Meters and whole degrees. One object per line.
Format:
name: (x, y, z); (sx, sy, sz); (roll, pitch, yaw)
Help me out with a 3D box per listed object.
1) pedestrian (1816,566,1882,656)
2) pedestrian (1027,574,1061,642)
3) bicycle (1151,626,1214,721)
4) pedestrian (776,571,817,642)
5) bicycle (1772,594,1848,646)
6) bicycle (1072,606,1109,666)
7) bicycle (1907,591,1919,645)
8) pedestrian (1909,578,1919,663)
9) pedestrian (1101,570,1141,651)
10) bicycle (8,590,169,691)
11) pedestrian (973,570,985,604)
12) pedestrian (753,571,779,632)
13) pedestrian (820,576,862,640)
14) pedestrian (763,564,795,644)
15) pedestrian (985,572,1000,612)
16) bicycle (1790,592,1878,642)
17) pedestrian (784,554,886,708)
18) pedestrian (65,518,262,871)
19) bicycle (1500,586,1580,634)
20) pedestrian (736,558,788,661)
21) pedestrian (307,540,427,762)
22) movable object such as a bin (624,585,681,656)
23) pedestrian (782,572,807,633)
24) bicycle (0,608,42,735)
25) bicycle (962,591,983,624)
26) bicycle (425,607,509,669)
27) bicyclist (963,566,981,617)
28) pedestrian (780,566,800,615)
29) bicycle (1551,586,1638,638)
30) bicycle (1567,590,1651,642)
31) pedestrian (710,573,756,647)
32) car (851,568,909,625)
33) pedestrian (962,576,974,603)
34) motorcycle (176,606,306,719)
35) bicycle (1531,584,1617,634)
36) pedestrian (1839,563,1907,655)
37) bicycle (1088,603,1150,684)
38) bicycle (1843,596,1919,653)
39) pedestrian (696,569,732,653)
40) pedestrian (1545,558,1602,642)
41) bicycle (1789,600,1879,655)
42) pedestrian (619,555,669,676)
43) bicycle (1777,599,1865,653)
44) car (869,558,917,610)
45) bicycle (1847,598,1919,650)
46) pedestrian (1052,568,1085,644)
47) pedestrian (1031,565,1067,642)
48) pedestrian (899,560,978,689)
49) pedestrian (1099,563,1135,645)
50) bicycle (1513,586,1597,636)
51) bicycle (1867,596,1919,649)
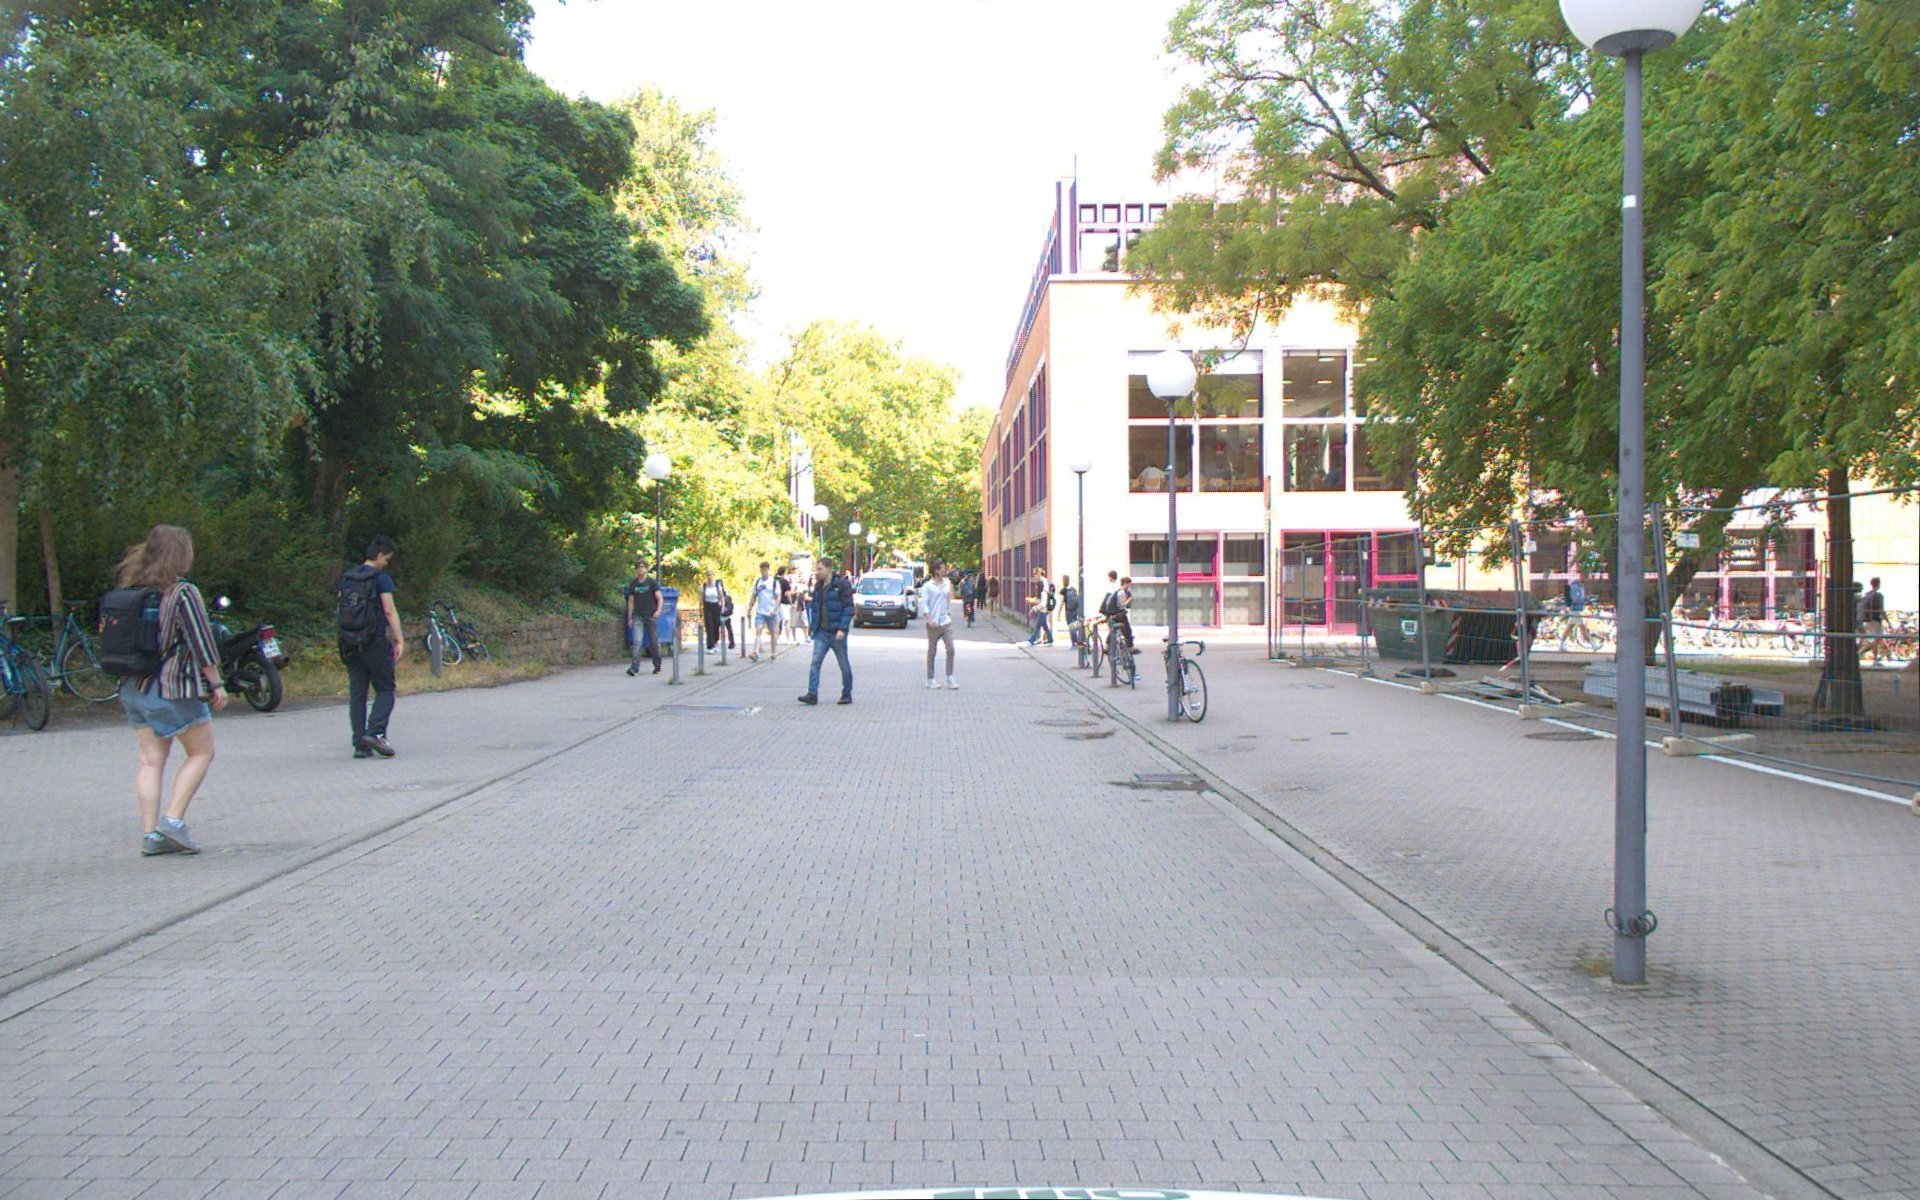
pedestrian: (17.663, 0.222, 32.859); (0.884, 1.758, 0.684); (0, -2, -6)
pedestrian: (2.031, 0.191, 40.039); (0.765, 1.649, 0.684); (0, 0, -3)
bicycle: (2.464, 0.793, 18.427); (0.387, 0.952, 1.731); (-2, 1, -1)
pedestrian: (-3.955, 0.157, 40.071); (0.867, 1.702, 0.559); (0, 0, 6)
bicycle: (20.008, 0.477, 38.926); (1.778, 1.189, 0.472); (1, 0, -18)
bicycle: (2.332, 0.632, 29.738); (0.441, 0.978, 1.740); (-3, 1, -1)
bicycle: (22.127, 0.422, 36.697); (1.956, 1.189, 0.474); (1, 0, -2)
pedestrian: (20.161, 0.414, 33.971); (0.884, 1.758, 0.684); (0, -2, -6)
pedestrian: (3.418, 0.221, 35.066); (0.834, 1.680, 0.588); (0, 0, 6)
bicycle: (-9.724, 0.438, 18.525); (0.463, 1.065, 1.700); (2, 0, 20)
pedestrian: (0.953, -0.643, 84.452); (0.574, 1.702, 0.817); (-1, 0, 0)
pedestrian: (-5.313, 0.051, 45.417); (0.669, 1.649, 0.977); (0, 0, -6)
pedestrian: (-2.941, 0.200, 40.881); (0.867, 1.569, 0.743); (1, 0, 9)
pedestrian: (-4.295, 0.100, 39.218); (0.668, 1.876, 0.783); (0, 0, -1)
pedestrian: (1.378, -0.341, 70.356); (0.574, 1.702, 0.699); (-1, 0, 0)
bicycle: (21.872, 0.426, 41.412); (1.956, 1.189, 0.474); (1, 0, -3)
pedestrian: (-1.583, 0.378, 21.046); (0.868, 1.890, 1.031); (1, 0, 27)
pedestrian: (-4.122, 0.468, 8.606); (0.670, 1.754, 0.731); (1, 0, -3)
bicycle: (14.066, 0.247, 40.120); (1.773, 1.129, 0.523); (1, 0, -4)
pedestrian: (-3.752, 0.170, 31.433); (0.708, 1.914, 1.083); (0, 0, 9)
pedestrian: (-4.856, 0.400, 13.595); (0.670, 1.754, 0.903); (1, 0, -3)
movable object such as a bin: (-6.078, 0.390, 32.743); (0.694, 1.359, 1.240); (2, 1, 9)
pedestrian: (-4.568, 0.075, 45.625); (0.669, 1.649, 0.913); (0, 0, -6)
bicycle: (-8.946, 0.629, 15.243); (0.470, 1.065, 1.674); (2, 0, -42)
bicycle: (0.414, 0.243, 56.633); (0.575, 1.102, 1.906); (0, 1, -4)
bicycle: (-7.631, 0.577, 25.658); (0.412, 0.926, 1.741); (0, -1, 14)
bicyclist: (0.410, -0.296, 56.650); (0.575, 1.746, 0.665); (0, 1, -4)
pedestrian: (-6.560, -0.375, 63.827); (0.668, 1.876, 0.783); (0, 0, -1)
bicycle: (14.429, 0.269, 37.641); (1.771, 1.129, 0.524); (1, 0, 3)
bicycle: (14.320, 0.349, 36.516); (1.659, 1.129, 0.474); (1, 0, 2)
pedestrian: (-5.142, 0.223, 37.442); (0.902, 1.639, 0.567); (0, 0, 42)
car: (-2.626, -0.160, 55.156); (1.754, 1.792, 4.481); (-1, 1, -1)
pedestrian: (0.536, -0.676, 107.753); (0.710, 1.702, 0.748); (-1, 0, 0)
motorcycle: (-7.622, 0.629, 17.499); (1.990, 1.065, 0.471); (2, 2, 42)
bicycle: (14.215, 0.207, 38.298); (1.773, 1.129, 0.523); (1, 0, -2)
pedestrian: (17.653, 0.175, 32.003); (0.884, 1.758, 0.684); (0, -2, -6)
bicycle: (2.318, 0.612, 24.217); (0.694, 1.112, 1.748); (0, 1, -2)
bicycle: (20.296, 0.537, 36.066); (1.768, 1.189, 0.474); (1, 0, 2)
pedestrian: (-5.227, 0.228, 35.179); (0.669, 1.758, 1.001); (0, 0, -5)
pedestrian: (12.984, 0.013, 35.018); (0.884, 1.758, 0.684); (0, -2, -6)
bicycle: (19.805, 0.628, 37.483); (1.769, 1.189, 0.474); (1, 0, -1)
pedestrian: (-5.080, 0.245, 26.641); (0.669, 1.905, 1.120); (0, 0, -6)
bicycle: (19.782, 0.604, 38.021); (1.770, 1.189, 0.474); (1, 0, -3)
car: (-2.685, -0.668, 67.350); (1.845, 2.008, 5.214); (0, 1, -1)
bicycle: (21.966, 0.564, 38.884); (1.956, 1.189, 0.474); (1, 0, -2)
pedestrian: (2.483, 0.136, 37.921); (0.682, 1.702, 0.588); (-1, -1, 6)
pedestrian: (2.189, 0.075, 40.778); (0.809, 1.876, 0.684); (0, 0, -3)
pedestrian: (-0.330, 0.347, 24.743); (0.773, 1.877, 1.109); (1, 1, -25)
pedestrian: (3.557, 0.083, 37.350); (0.750, 1.826, 0.588); (-1, -1, 6)
bicycle: (14.074, 0.258, 39.148); (1.771, 1.129, 0.524); (1, 0, 2)
bicycle: (22.139, 0.531, 38.361); (1.956, 1.189, 0.474); (1, 0, -2)
